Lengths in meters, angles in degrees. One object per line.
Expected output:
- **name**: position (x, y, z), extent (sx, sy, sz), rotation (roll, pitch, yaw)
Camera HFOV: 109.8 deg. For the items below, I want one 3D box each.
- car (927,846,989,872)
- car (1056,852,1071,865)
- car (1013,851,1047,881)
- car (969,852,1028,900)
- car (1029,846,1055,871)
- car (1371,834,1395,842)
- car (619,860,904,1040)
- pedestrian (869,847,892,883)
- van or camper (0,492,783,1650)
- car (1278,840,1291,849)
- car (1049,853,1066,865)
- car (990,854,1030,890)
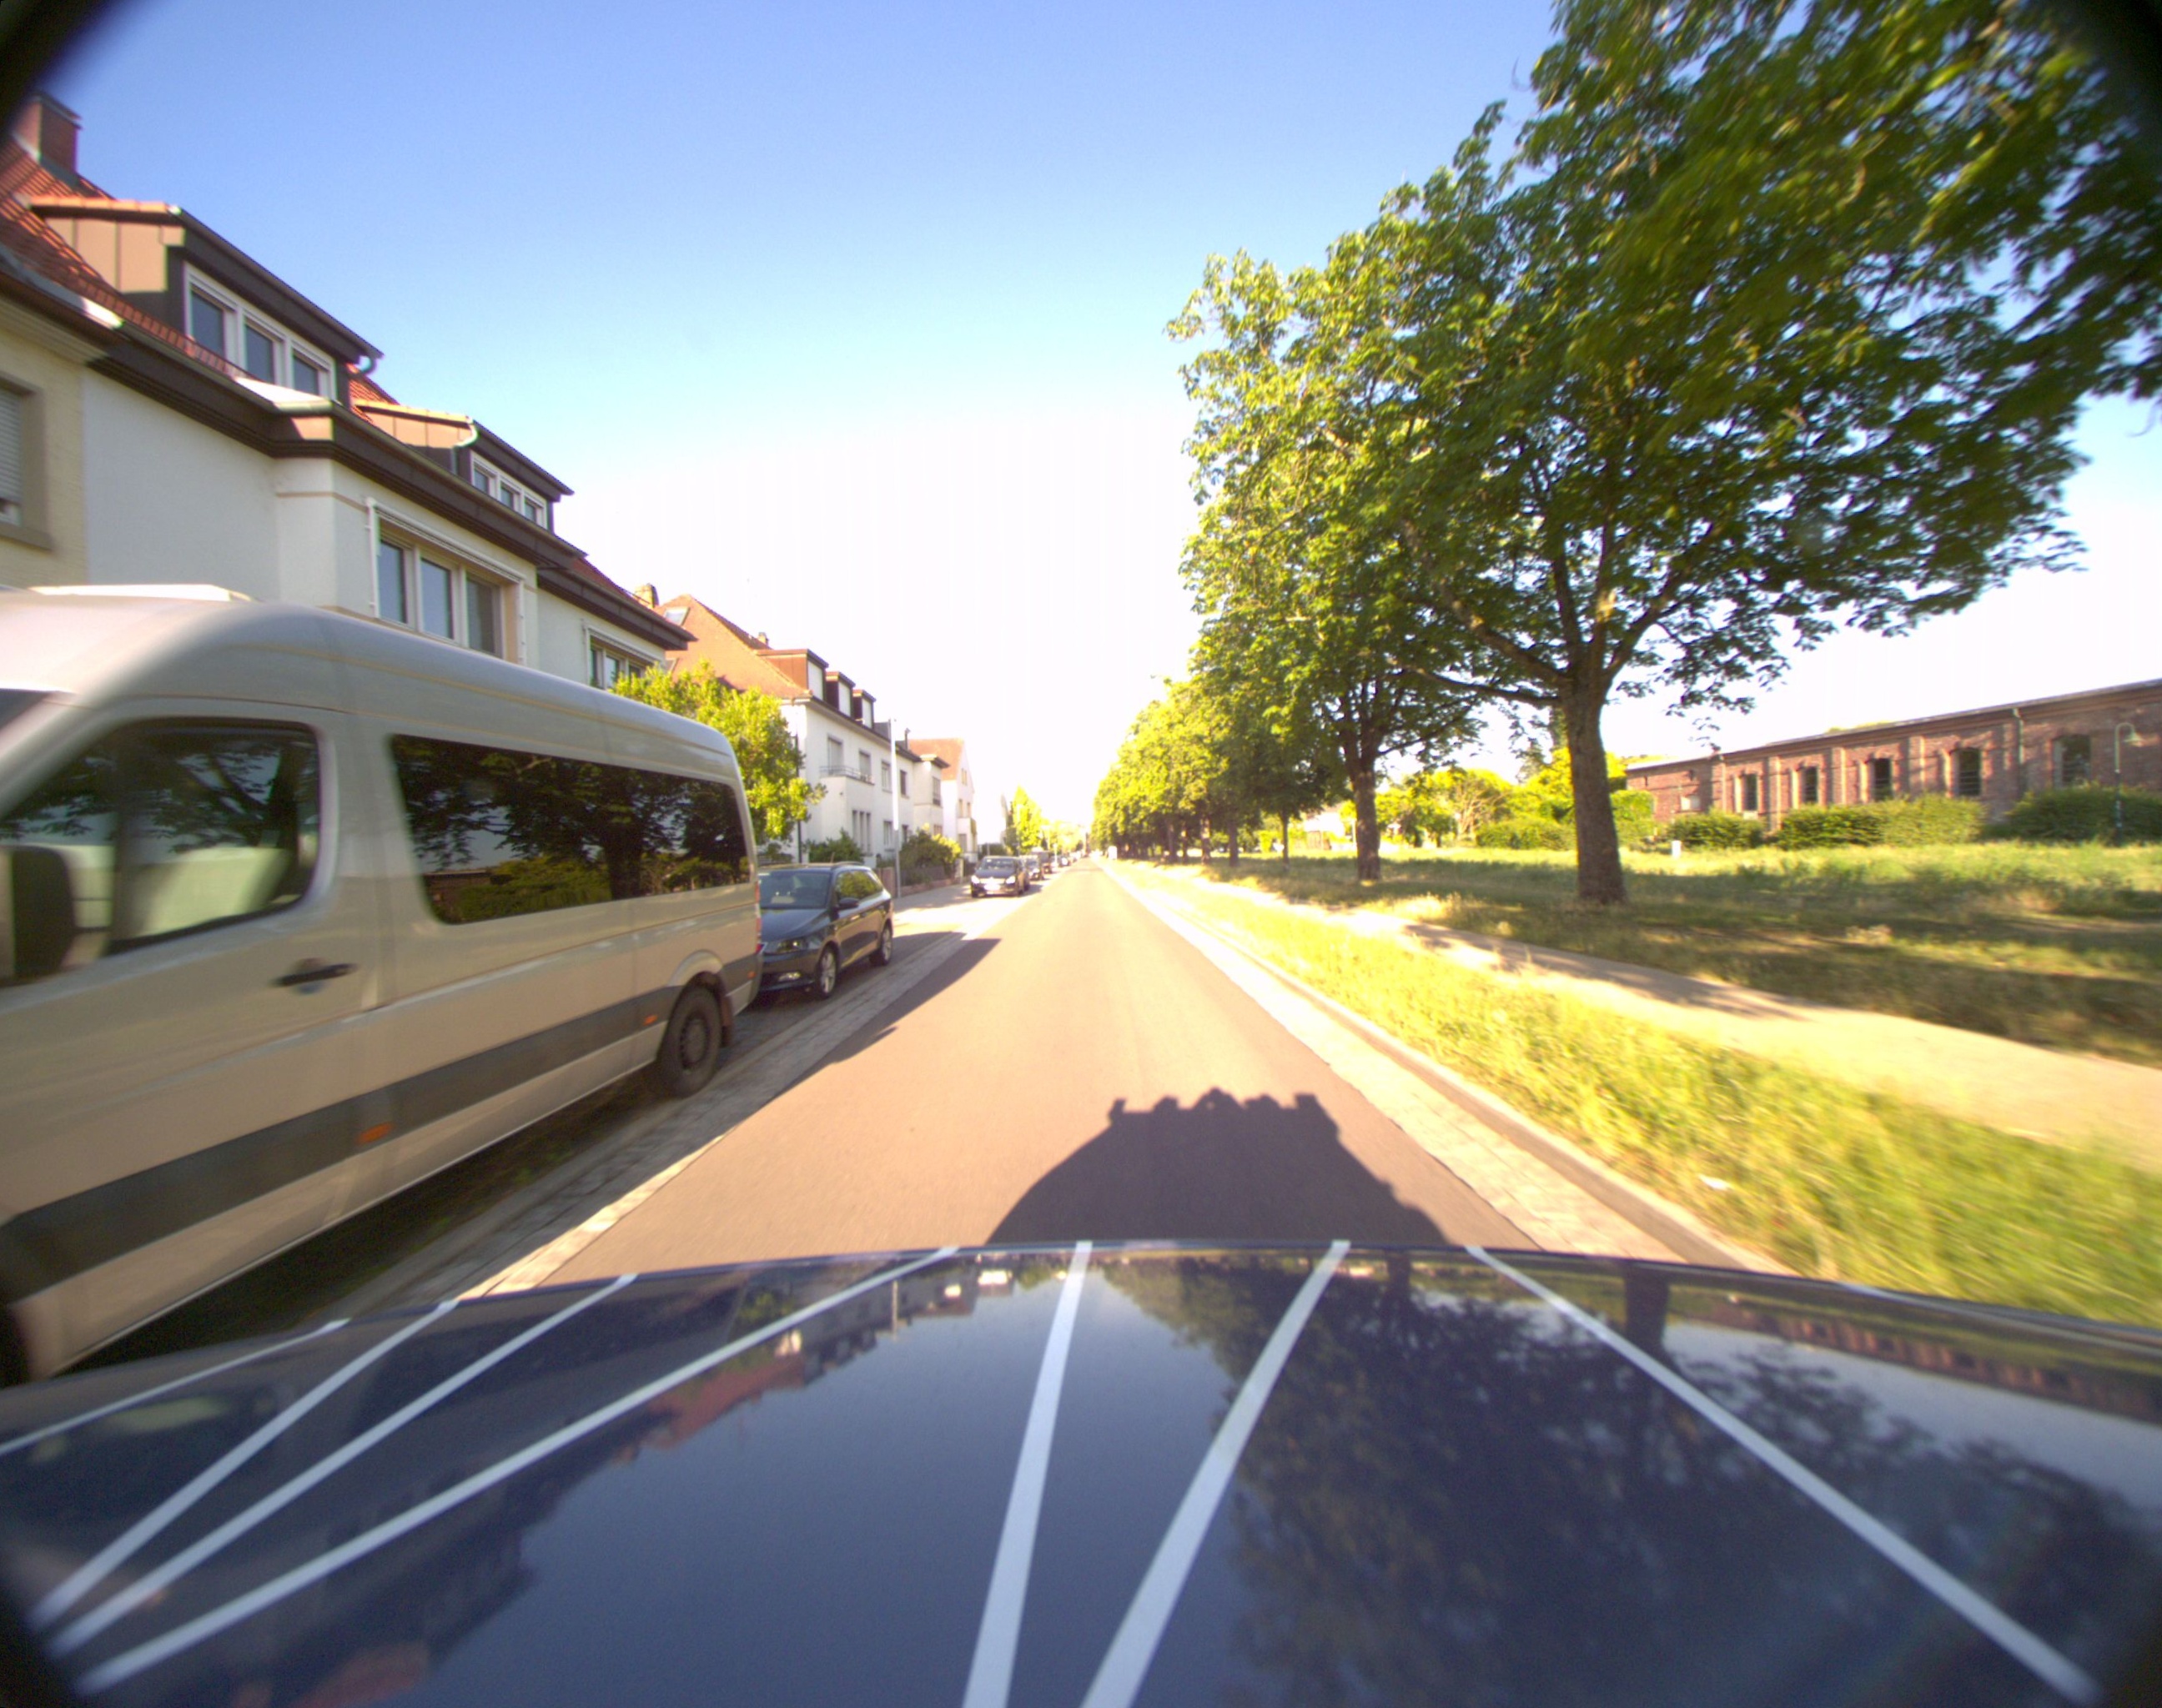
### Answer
- **car**: position (-8.845, 0.362, 54.861), extent (4.228, 1.716, 1.852), rotation (-2, 1, -3)
- **car**: position (-2.457, 0.629, 108.385), extent (1.910, 1.698, 4.575), rotation (0, 0, 2)
- **car**: position (-3.130, 0.697, 47.647), extent (1.798, 1.761, 4.472), rotation (0, 0, 0)
- **car**: position (-3.247, 0.817, 30.550), extent (1.837, 1.675, 4.414), rotation (1, 1, 0)
- **car**: position (-3.292, 0.350, 64.981), extent (1.910, 2.119, 4.814), rotation (0, 0, 1)
- **car**: position (56.422, -2.937, 141.992), extent (3.636, 1.273, 1.586), rotation (-3, 1, 2)
- **car**: position (-3.597, 0.962, 9.456), extent (1.668, 1.584, 4.085), rotation (-3, 1, 1)
- **pedestrian**: position (-8.900, 0.477, 33.723), extent (0.595, 1.569, 0.631), rotation (-3, 2, 27)
- **van or camper**: position (-3.560, 0.505, 3.281), extent (1.948, 2.762, 5.938), rotation (-3, 1, 1)
- **car**: position (43.544, -2.014, 162.552), extent (1.766, 1.619, 4.000), rotation (-3, 0, 0)
- **car**: position (-2.904, 0.663, 94.372), extent (1.798, 1.474, 4.124), rotation (0, 0, 1)
- **car**: position (-3.346, 0.799, 36.393), extent (1.722, 1.565, 4.208), rotation (0, 1, -3)
